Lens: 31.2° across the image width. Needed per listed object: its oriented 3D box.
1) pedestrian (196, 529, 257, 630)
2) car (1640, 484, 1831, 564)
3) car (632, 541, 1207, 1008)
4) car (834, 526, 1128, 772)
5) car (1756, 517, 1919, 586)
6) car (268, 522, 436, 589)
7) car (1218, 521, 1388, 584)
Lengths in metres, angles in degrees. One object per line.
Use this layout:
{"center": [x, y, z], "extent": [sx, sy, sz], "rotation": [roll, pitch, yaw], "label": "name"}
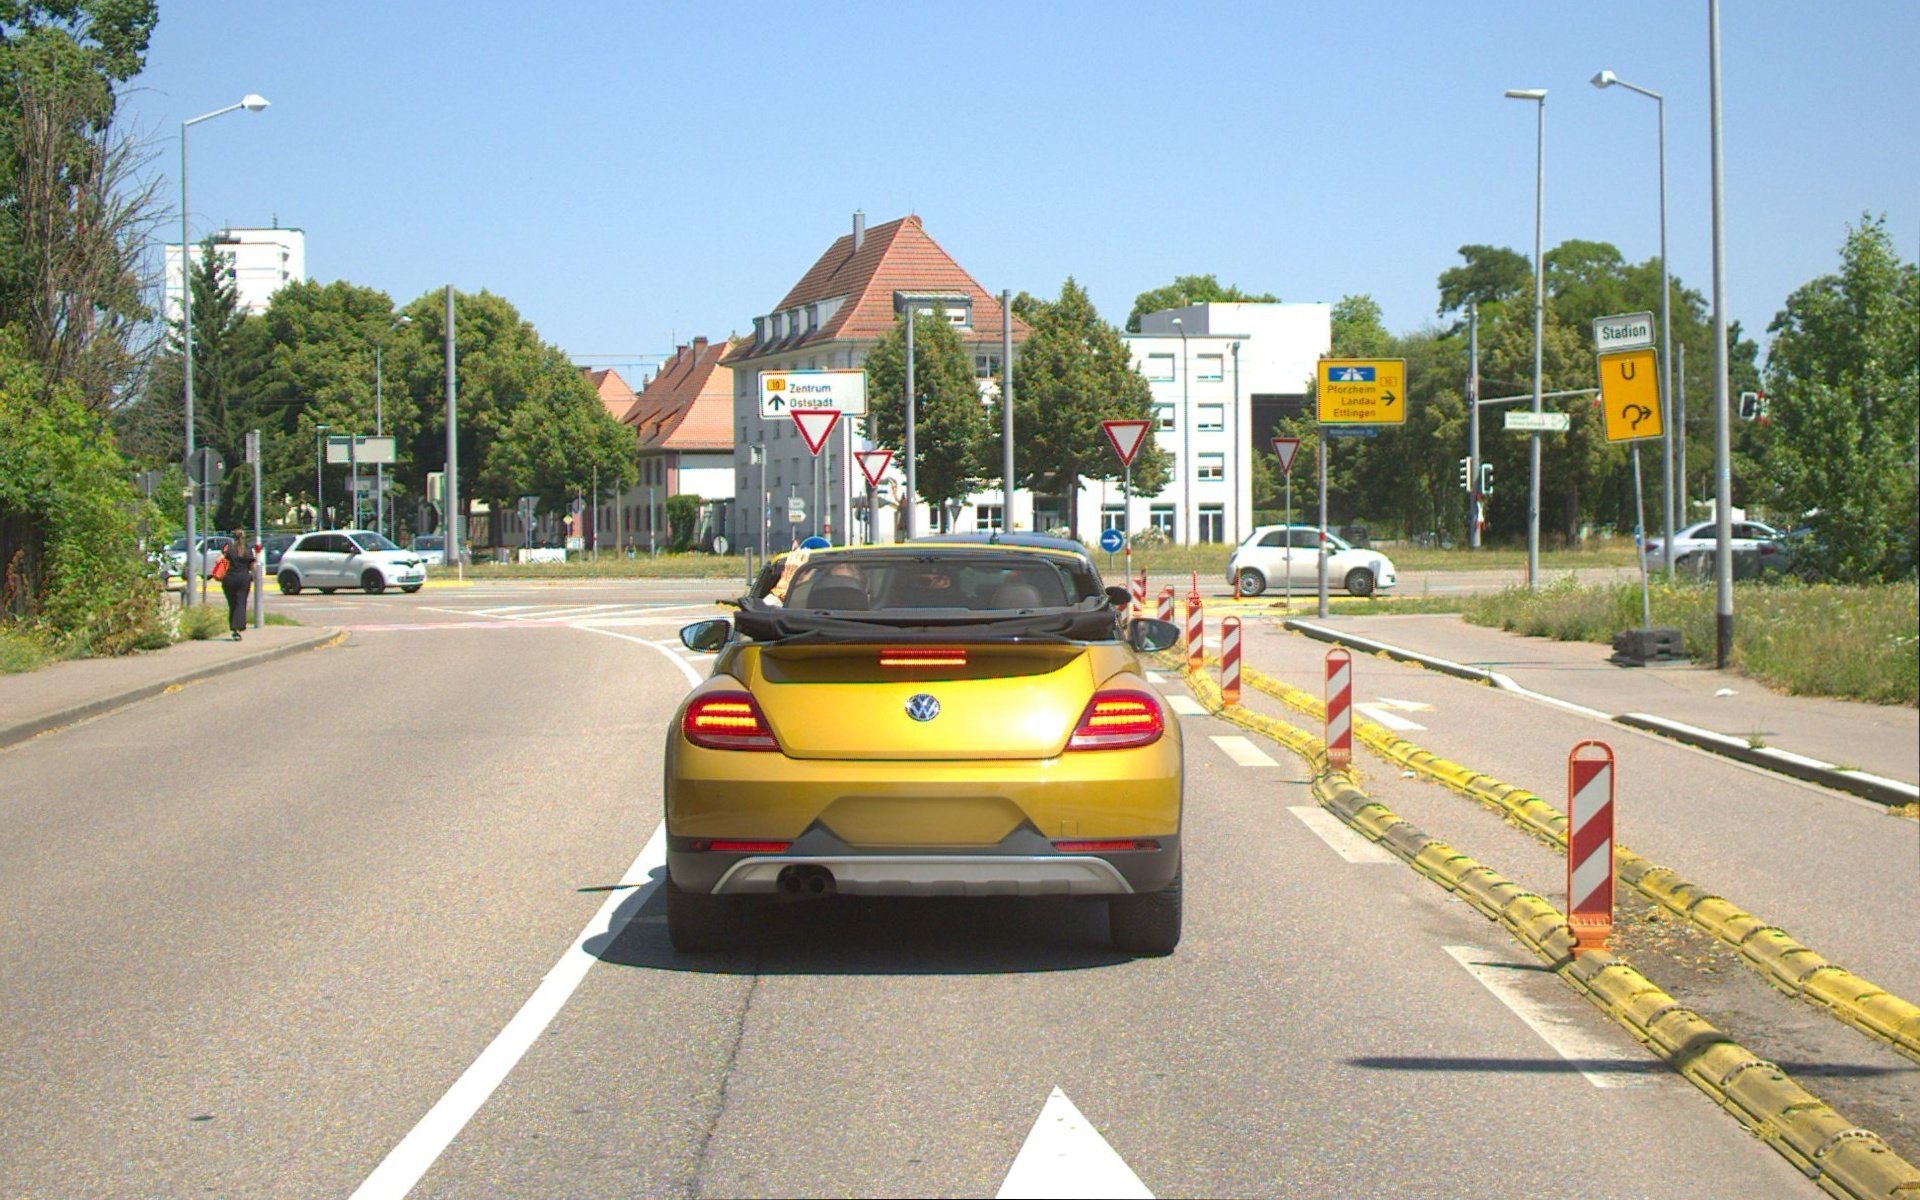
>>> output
{"center": [-10.615, -0.303, 49.757], "extent": [0.722, 1.449, 0.818], "rotation": [-1, 1, -4], "label": "pedestrian"}
{"center": [17.431, -1.712, 77.433], "extent": [4.074, 1.738, 1.566], "rotation": [-1, 1, 9], "label": "car"}
{"center": [-0.169, 0.516, 12.717], "extent": [1.790, 1.432, 3.814], "rotation": [-1, 1, -1], "label": "car"}
{"center": [0.115, 0.250, 22.377], "extent": [1.726, 1.438, 4.000], "rotation": [-1, 1, 0], "label": "car"}
{"center": [18.443, -0.988, 69.420], "extent": [4.441, 1.353, 1.537], "rotation": [-1, 1, 6], "label": "car"}
{"center": [-14.674, -1.062, 82.908], "extent": [3.701, 1.565, 1.680], "rotation": [0, 1, 27], "label": "car"}
{"center": [7.170, -0.993, 71.750], "extent": [3.438, 1.271, 1.202], "rotation": [-1, 1, 9], "label": "car"}
